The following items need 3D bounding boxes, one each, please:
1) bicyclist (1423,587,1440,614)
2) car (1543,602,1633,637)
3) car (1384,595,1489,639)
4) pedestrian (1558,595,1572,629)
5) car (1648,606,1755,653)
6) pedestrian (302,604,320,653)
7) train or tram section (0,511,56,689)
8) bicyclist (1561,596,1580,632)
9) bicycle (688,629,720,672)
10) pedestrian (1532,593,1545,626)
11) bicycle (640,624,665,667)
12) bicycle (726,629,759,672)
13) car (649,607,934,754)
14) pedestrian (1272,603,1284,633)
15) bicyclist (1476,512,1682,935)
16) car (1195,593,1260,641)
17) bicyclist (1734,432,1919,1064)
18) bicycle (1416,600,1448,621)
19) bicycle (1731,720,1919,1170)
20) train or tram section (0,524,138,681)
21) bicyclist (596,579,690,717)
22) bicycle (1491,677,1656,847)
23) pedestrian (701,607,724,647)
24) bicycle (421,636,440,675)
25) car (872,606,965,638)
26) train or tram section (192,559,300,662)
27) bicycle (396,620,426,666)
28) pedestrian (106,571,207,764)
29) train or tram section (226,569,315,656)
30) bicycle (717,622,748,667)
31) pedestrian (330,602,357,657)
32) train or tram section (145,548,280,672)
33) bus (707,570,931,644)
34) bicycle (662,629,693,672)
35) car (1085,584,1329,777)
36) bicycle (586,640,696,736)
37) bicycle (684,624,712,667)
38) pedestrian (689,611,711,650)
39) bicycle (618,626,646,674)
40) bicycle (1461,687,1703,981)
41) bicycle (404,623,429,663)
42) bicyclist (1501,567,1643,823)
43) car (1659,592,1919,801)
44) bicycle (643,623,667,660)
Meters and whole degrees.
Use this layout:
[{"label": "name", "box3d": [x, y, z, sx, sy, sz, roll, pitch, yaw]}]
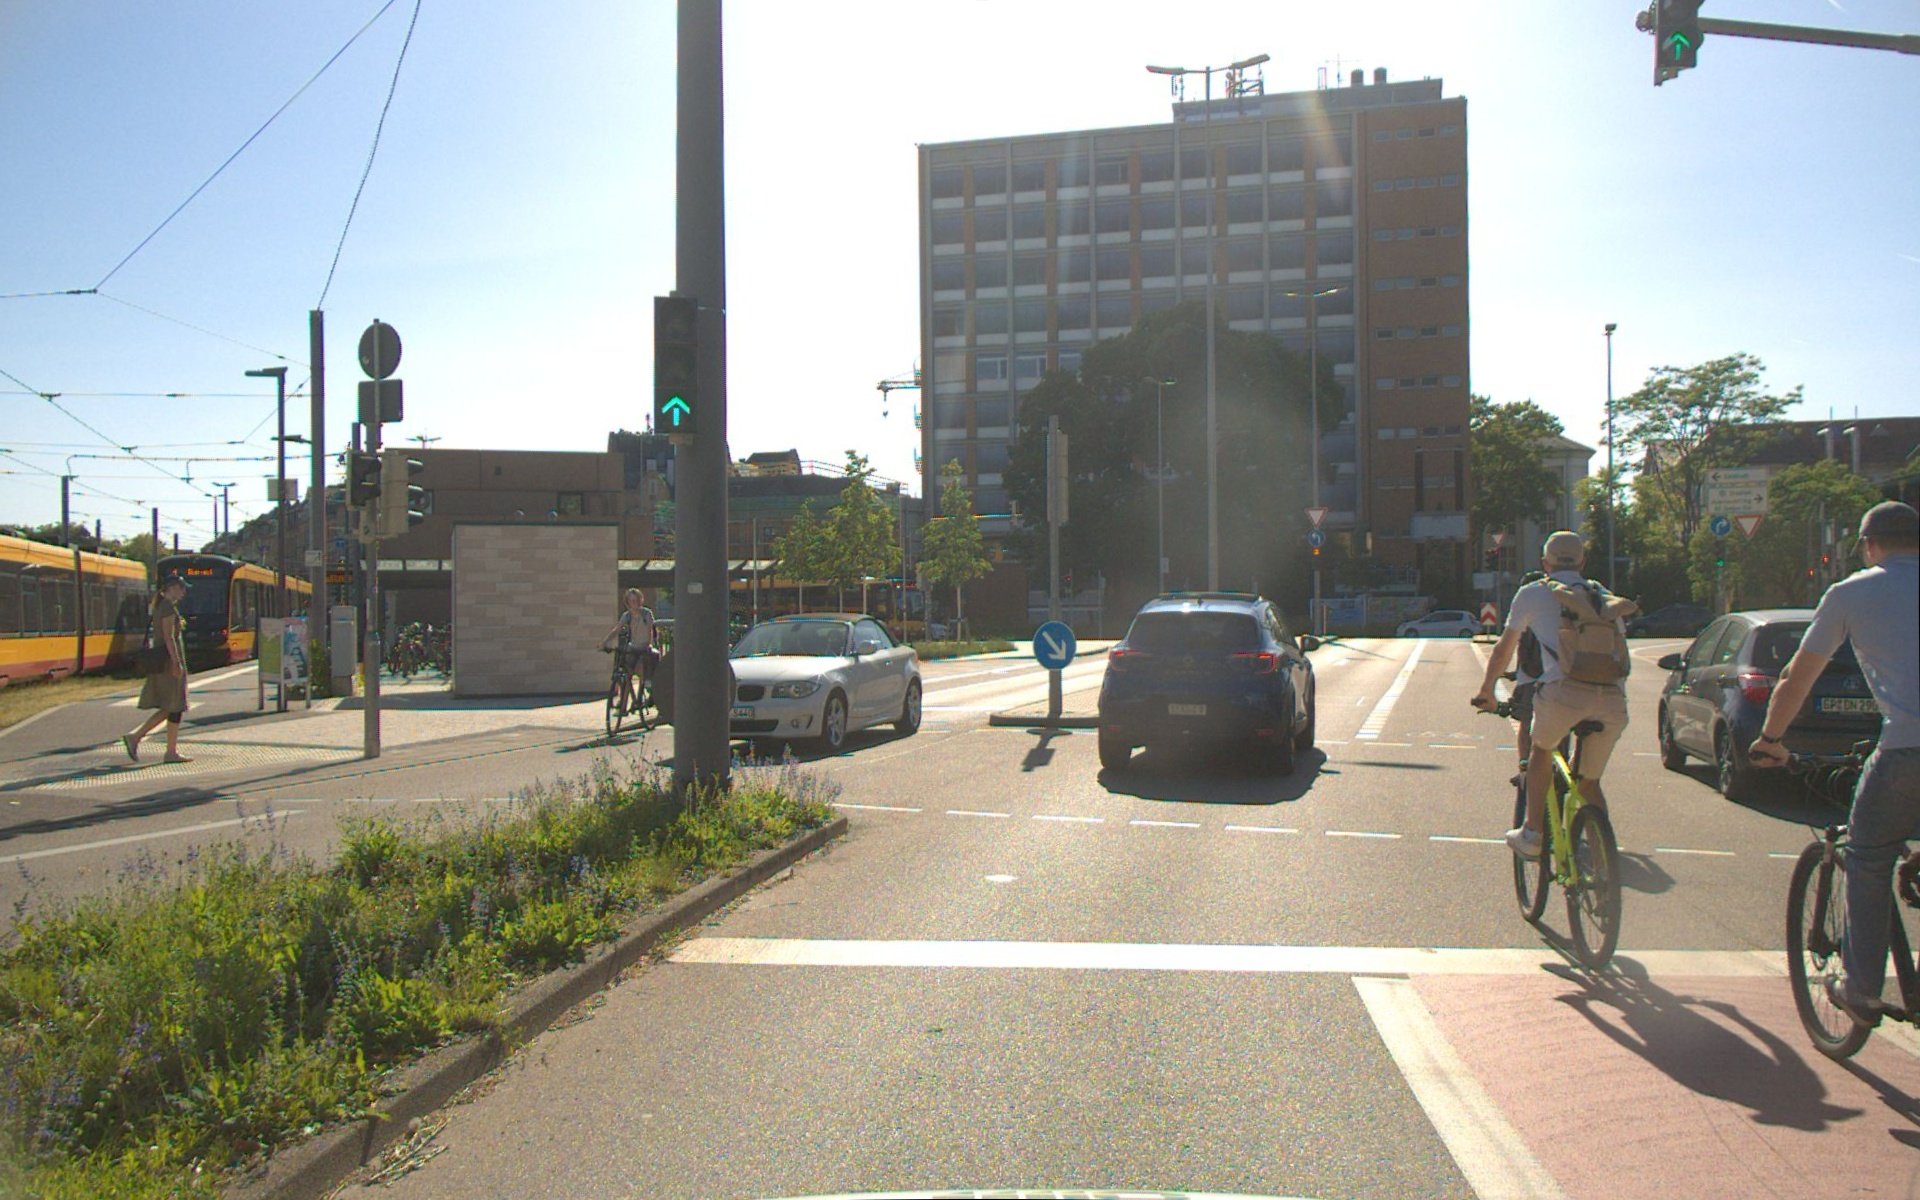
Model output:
[{"label": "bicyclist", "box3d": [25.913, 0.022, 90.907, 0.800, 1.469, 0.620, -1, 0, 24]}, {"label": "car", "box3d": [30.079, 0.966, 79.203, 3.820, 1.614, 1.877, -1, -2, 28]}, {"label": "car", "box3d": [22.748, 0.819, 78.986, 4.559, 2.049, 1.998, -1, -2, 27]}, {"label": "pedestrian", "box3d": [30.792, 0.599, 84.175, 0.546, 1.699, 0.475, -1, -2, 32]}, {"label": "car", "box3d": [32.999, 1.339, 73.611, 4.286, 2.049, 1.998, -1, -2, 27]}, {"label": "pedestrian", "box3d": [-25.219, 1.094, 64.256, 0.624, 1.889, 0.698, 1, -2, -24]}, {"label": "train or tram section", "box3d": [-20.576, -0.014, 32.625, 2.772, 3.569, 10.557, 1, -1, -18]}, {"label": "bicyclist", "box3d": [32.190, 0.751, 87.185, 0.839, 1.879, 0.850, -1, -2, 26]}, {"label": "bicycle", "box3d": [-5.966, 1.171, 38.514, 0.570, 0.978, 2.051, 1, -2, -13]}, {"label": "pedestrian", "box3d": [30.207, 0.503, 86.310, 0.550, 1.699, 0.475, -1, -2, 32]}, {"label": "bicycle", "box3d": [-8.174, 1.200, 43.909, 0.570, 1.107, 2.051, 1, -2, -13]}, {"label": "bicycle", "box3d": [-5.119, 1.185, 38.829, 0.570, 0.978, 2.051, 1, -2, -13]}, {"label": "car", "box3d": [-1.732, 0.814, 18.468, 1.762, 1.417, 4.095, -1, 0, 16]}, {"label": "pedestrian", "box3d": [18.119, 1.037, 94.344, 0.550, 1.699, 0.475, -1, -2, 32]}, {"label": "bicyclist", "box3d": [2.783, 0.518, 7.530, 0.649, 1.778, 1.006, 1, 0, 8]}, {"label": "car", "box3d": [9.761, 0.585, 60.168, 1.779, 1.596, 4.253, -3, -1, 16]}, {"label": "bicyclist", "box3d": [2.974, 0.427, 5.209, 0.733, 1.807, 1.015, 0, -1, 11]}, {"label": "bicycle", "box3d": [25.940, 0.552, 90.877, 1.632, 1.112, 0.610, -1, 0, 24]}, {"label": "bicycle", "box3d": [3.033, 0.990, 5.288, 0.598, 1.096, 1.831, 0, -1, 11]}, {"label": "train or tram section", "box3d": [-23.816, 0.109, 42.812, 2.772, 3.569, 11.154, 1, -1, -18]}, {"label": "bicyclist", "box3d": [-3.968, 0.598, 20.769, 0.861, 1.673, 1.061, -1, -1, 6]}, {"label": "bicycle", "box3d": [4.144, 1.056, 11.308, 0.707, 0.976, 1.885, 0, 0, 9]}, {"label": "pedestrian", "box3d": [-11.193, 1.223, 74.793, 0.613, 1.772, 0.786, -1, -2, 33]}, {"label": "bicycle", "box3d": [-13.562, 1.413, 42.368, 0.415, 0.954, 1.298, 1, -1, -19]}, {"label": "car", "box3d": [-2.097, 1.106, 82.640, 4.320, 1.548, 1.964, -1, -2, 34]}, {"label": "train or tram section", "box3d": [-27.037, 0.430, 63.010, 2.827, 3.569, 10.486, 0, -1, -18]}, {"label": "bicycle", "box3d": [-13.485, 1.060, 40.656, 0.556, 1.113, 2.021, 1, -2, -15]}, {"label": "pedestrian", "box3d": [-8.128, 0.655, 16.747, 0.888, 1.882, 0.758, -1, 2, -26]}, {"label": "train or tram section", "box3d": [-30.304, 0.546, 73.044, 2.827, 3.569, 10.487, 0, 0, -18]}, {"label": "bicycle", "box3d": [-5.622, 1.099, 40.830, 0.570, 1.070, 1.965, 1, -2, -13]}, {"label": "pedestrian", "box3d": [-21.592, 1.026, 57.967, 0.835, 1.916, 0.756, 1, -2, -20]}, {"label": "train or tram section", "box3d": [-23.744, 0.355, 53.038, 2.827, 3.569, 10.486, 0, -1, -18]}, {"label": "bus", "box3d": [-7.158, 0.433, 82.248, 12.194, 3.456, 2.872, -1, -2, 36]}, {"label": "bicycle", "box3d": [-6.558, 1.164, 38.374, 0.570, 0.978, 2.051, 1, -2, -13]}, {"label": "car", "box3d": [2.518, 0.699, 16.099, 1.785, 1.628, 3.660, 1, 0, 18]}, {"label": "bicycle", "box3d": [-3.974, 1.076, 20.761, 0.757, 1.099, 2.037, -1, -1, 7]}, {"label": "bicycle", "box3d": [-6.997, 1.212, 44.083, 0.570, 1.107, 2.051, 1, -2, -13]}, {"label": "pedestrian", "box3d": [-12.054, 1.419, 76.616, 0.642, 1.772, 0.786, -1, -2, 33]}, {"label": "bicycle", "box3d": [-7.523, 1.145, 37.914, 0.570, 1.076, 1.810, 1, -2, -13]}, {"label": "bicycle", "box3d": [2.809, 0.998, 7.666, 0.648, 1.065, 1.892, 1, 0, 8]}, {"label": "bicycle", "box3d": [-15.376, 1.228, 46.815, 0.556, 1.113, 2.021, 1, -2, -15]}, {"label": "bicyclist", "box3d": [4.149, 0.616, 11.285, 0.706, 1.654, 1.056, 1, 0, 9]}, {"label": "car", "box3d": [7.314, 0.761, 14.356, 1.718, 1.569, 3.661, 0, -1, 13]}, {"label": "bicycle", "box3d": [-9.454, 1.285, 51.292, 0.571, 1.107, 1.863, 1, -2, -15]}]
